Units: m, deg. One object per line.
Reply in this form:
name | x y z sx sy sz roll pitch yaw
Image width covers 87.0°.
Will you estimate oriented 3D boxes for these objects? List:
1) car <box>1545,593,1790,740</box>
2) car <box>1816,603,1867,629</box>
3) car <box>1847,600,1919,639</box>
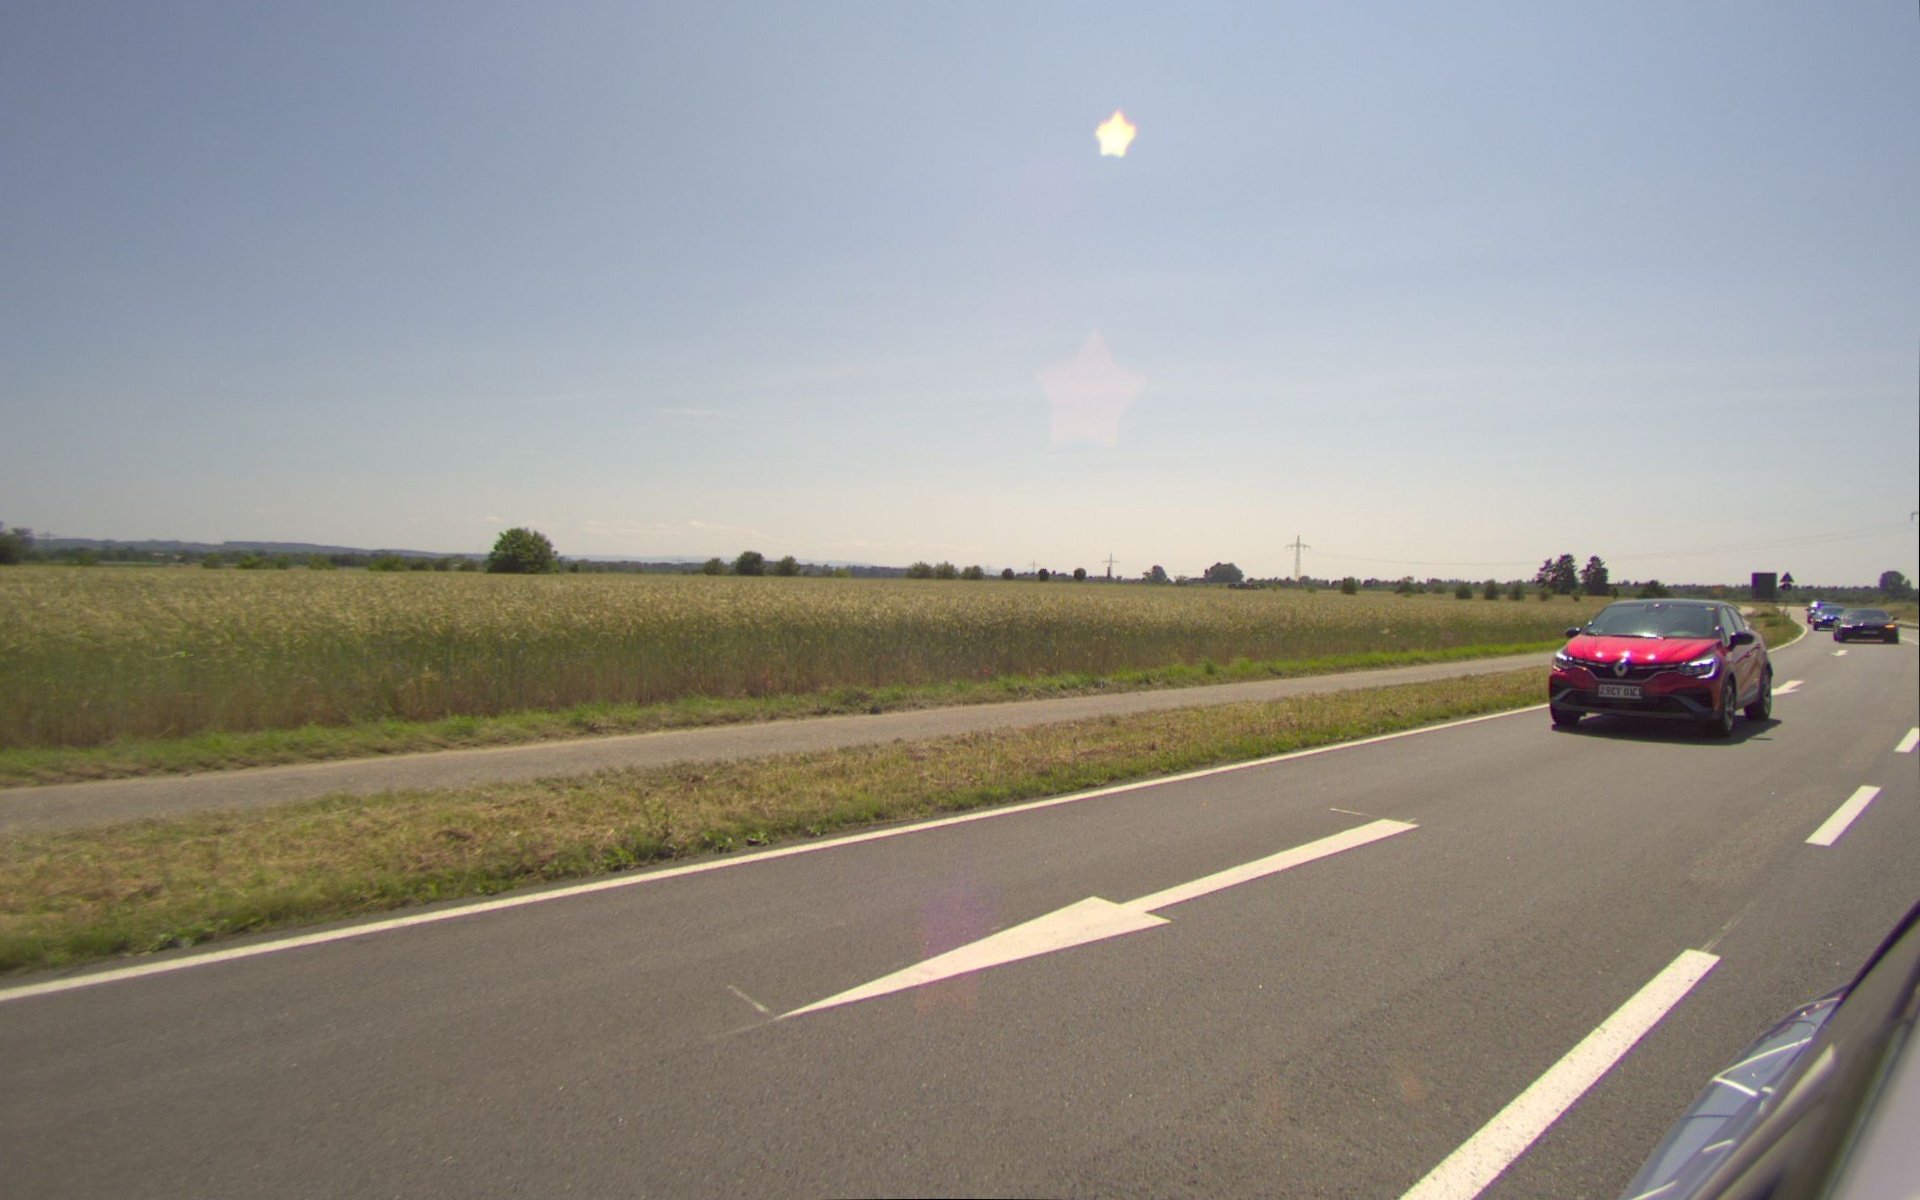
car | 9.217 0.706 13.033 4.376 1.572 1.823 0 0 -44
car | 53.702 0.927 61.707 2.180 1.485 4.942 0 0 39
car | 38.703 0.772 42.489 2.182 1.485 4.938 0 0 42
